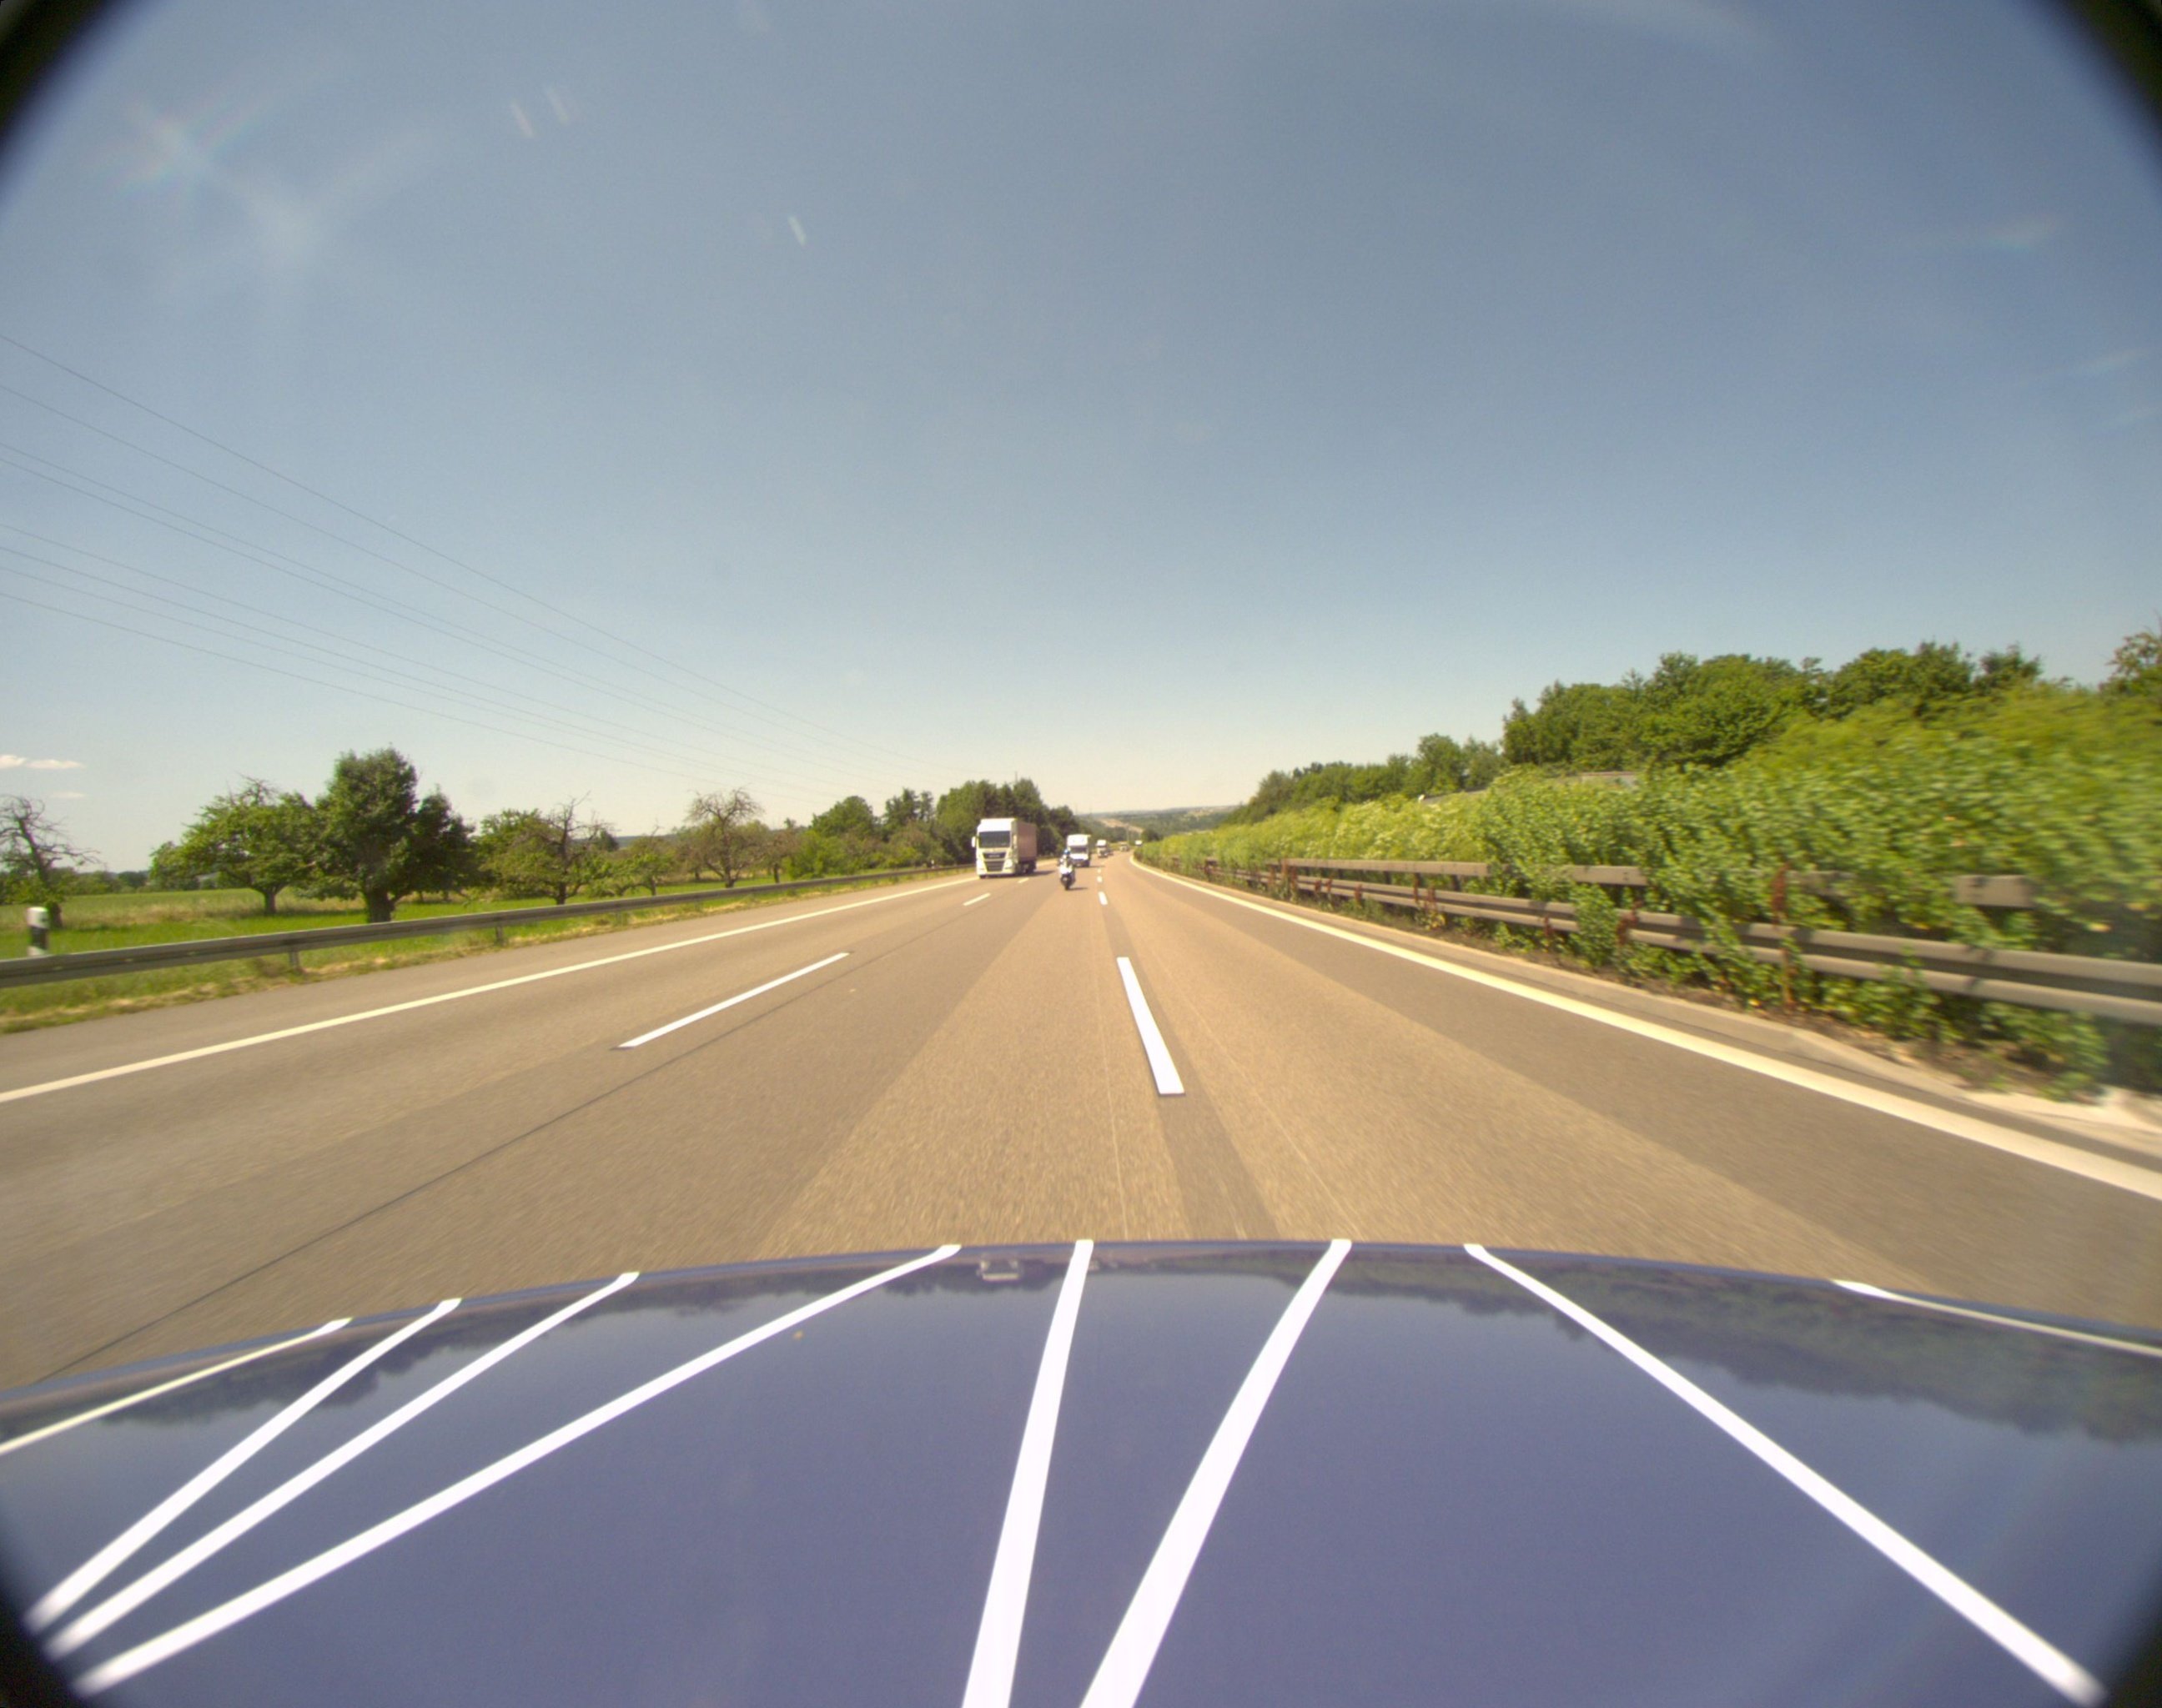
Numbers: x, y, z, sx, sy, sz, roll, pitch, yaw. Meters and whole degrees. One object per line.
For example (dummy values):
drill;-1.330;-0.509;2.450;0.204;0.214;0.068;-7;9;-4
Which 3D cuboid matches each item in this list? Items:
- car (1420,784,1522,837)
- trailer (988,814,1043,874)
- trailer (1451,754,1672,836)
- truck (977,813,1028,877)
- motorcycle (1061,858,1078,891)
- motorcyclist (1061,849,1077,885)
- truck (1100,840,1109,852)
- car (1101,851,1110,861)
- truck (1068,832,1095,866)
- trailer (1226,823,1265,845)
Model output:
car;20.089;-2.178;39.522;2.576;2.438;5.513;-2;1;2
trailer;-5.088;-0.807;61.482;2.607;4.239;13.034;-2;1;3
trailer;19.884;-2.232;32.755;2.573;2.694;11.406;-2;1;2
truck;-5.406;-0.640;53.359;2.567;4.130;6.248;-2;1;2
motorcycle;-0.483;0.835;32.127;0.631;1.279;2.312;-2;1;-1
motorcyclist;-0.498;0.532;32.353;0.613;1.499;0.513;-2;1;-2
truck;7.114;-2.443;227.207;2.590;3.444;5.963;-2;1;2
car;4.865;0.400;151.091;1.704;1.958;4.000;-2;1;2
truck;0.037;-0.499;78.084;2.513;3.268;8.105;-1;1;0
trailer;21.956;-2.602;102.204;2.680;2.785;12.313;-2;1;1
